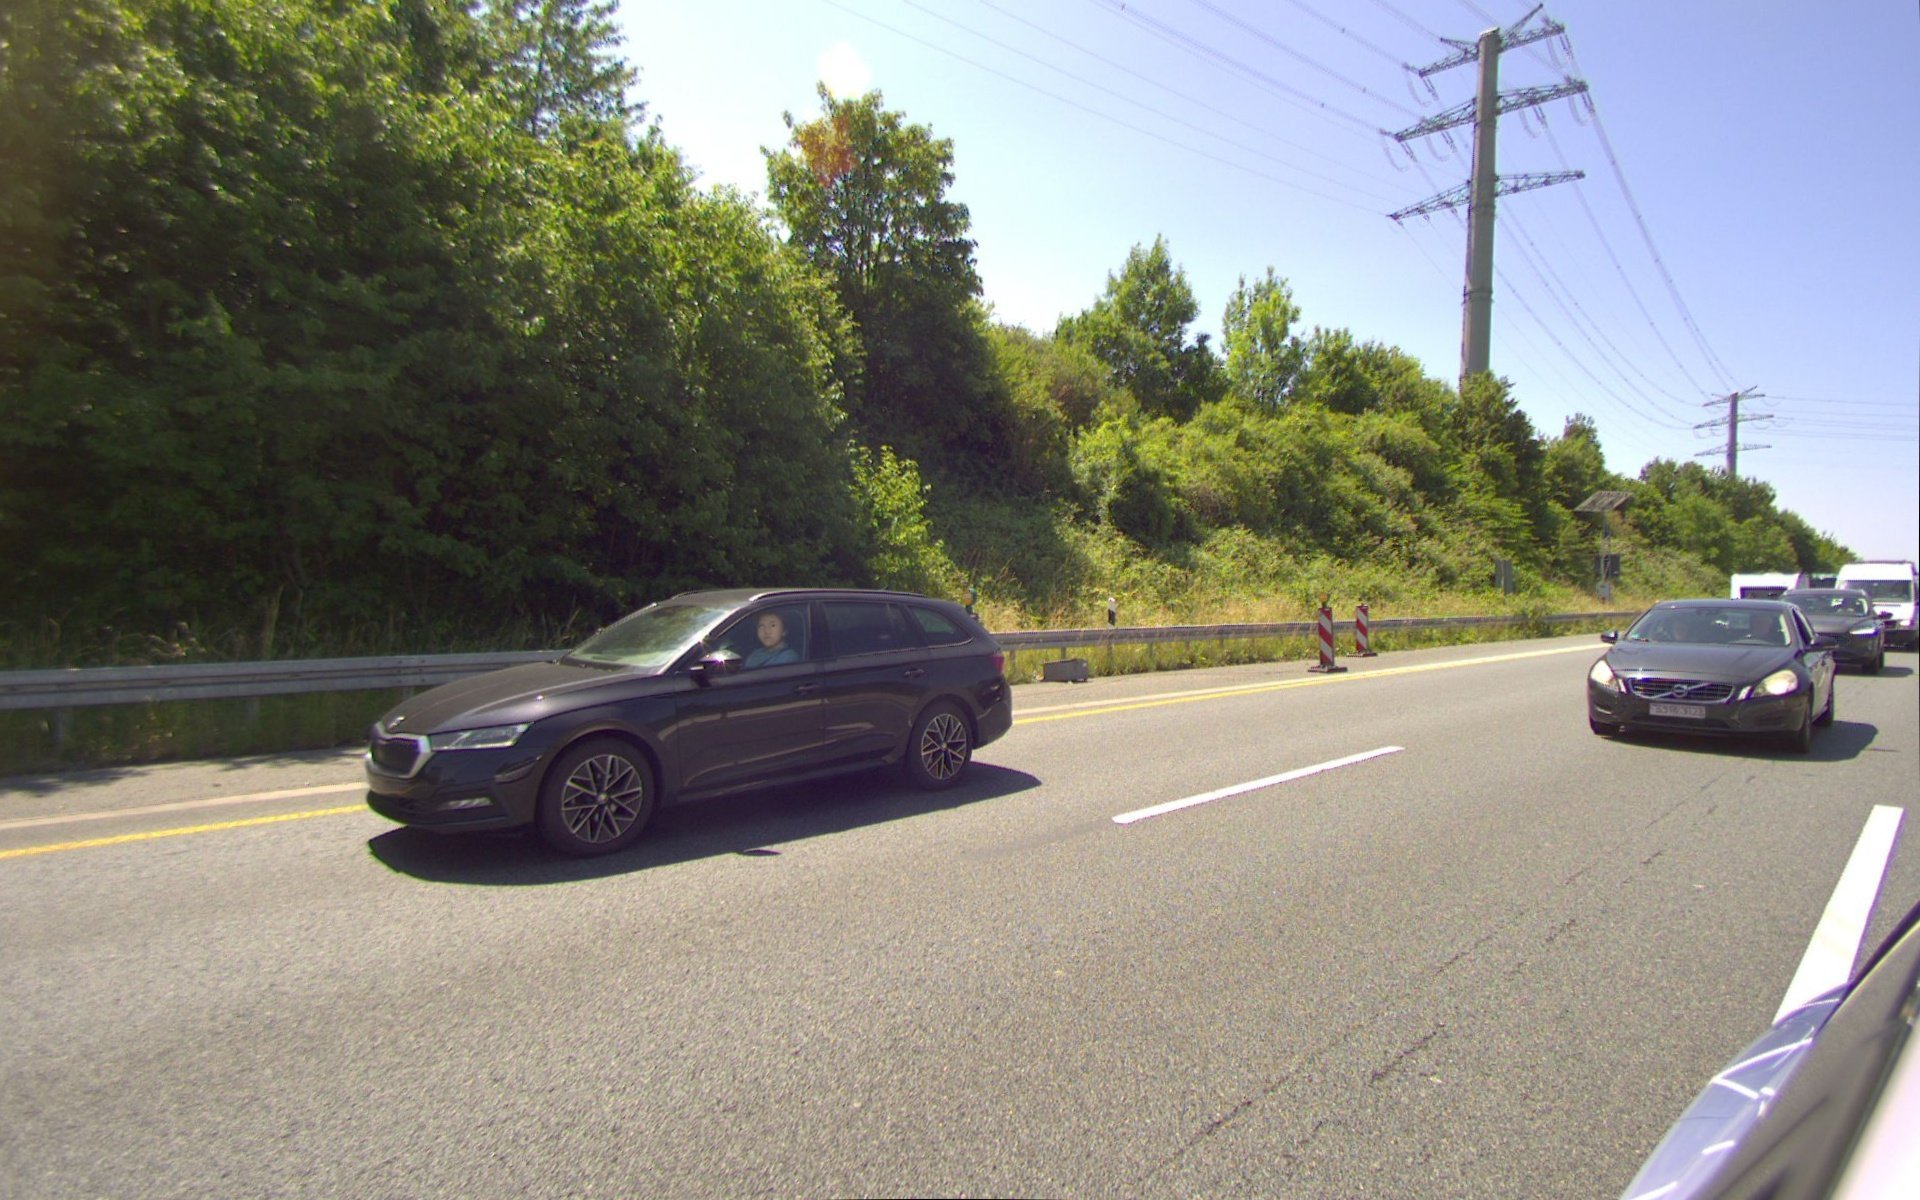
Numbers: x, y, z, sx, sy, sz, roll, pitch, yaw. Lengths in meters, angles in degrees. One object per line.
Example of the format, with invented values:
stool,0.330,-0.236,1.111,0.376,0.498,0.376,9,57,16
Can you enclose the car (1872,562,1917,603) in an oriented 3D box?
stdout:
car,91.888,-1.657,99.412,10.098,3.849,2.394,-1,0,-43

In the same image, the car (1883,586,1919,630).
car,38.407,0.295,40.649,4.089,1.689,1.741,0,1,-45

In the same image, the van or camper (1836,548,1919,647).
van or camper,27.305,-0.107,29.470,5.532,2.652,1.997,0,2,-42

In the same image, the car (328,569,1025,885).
car,-1.646,0.585,7.032,1.779,1.507,4.392,0,0,44

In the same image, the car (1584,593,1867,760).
car,8.349,0.660,10.915,3.933,1.459,1.796,0,1,-43

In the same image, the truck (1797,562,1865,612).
truck,58.684,-0.822,68.123,7.515,3.181,2.428,0,-1,-42

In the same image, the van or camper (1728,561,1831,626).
van or camper,35.653,-0.306,43.903,8.276,2.596,2.428,0,1,-43

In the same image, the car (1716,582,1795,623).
car,31.147,0.074,39.585,4.139,1.424,1.799,0,4,-43

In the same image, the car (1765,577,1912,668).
car,18.046,0.398,20.734,4.085,1.689,1.743,0,1,-42

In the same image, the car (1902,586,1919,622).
car,47.455,0.179,49.601,4.089,1.689,1.741,0,1,-45
